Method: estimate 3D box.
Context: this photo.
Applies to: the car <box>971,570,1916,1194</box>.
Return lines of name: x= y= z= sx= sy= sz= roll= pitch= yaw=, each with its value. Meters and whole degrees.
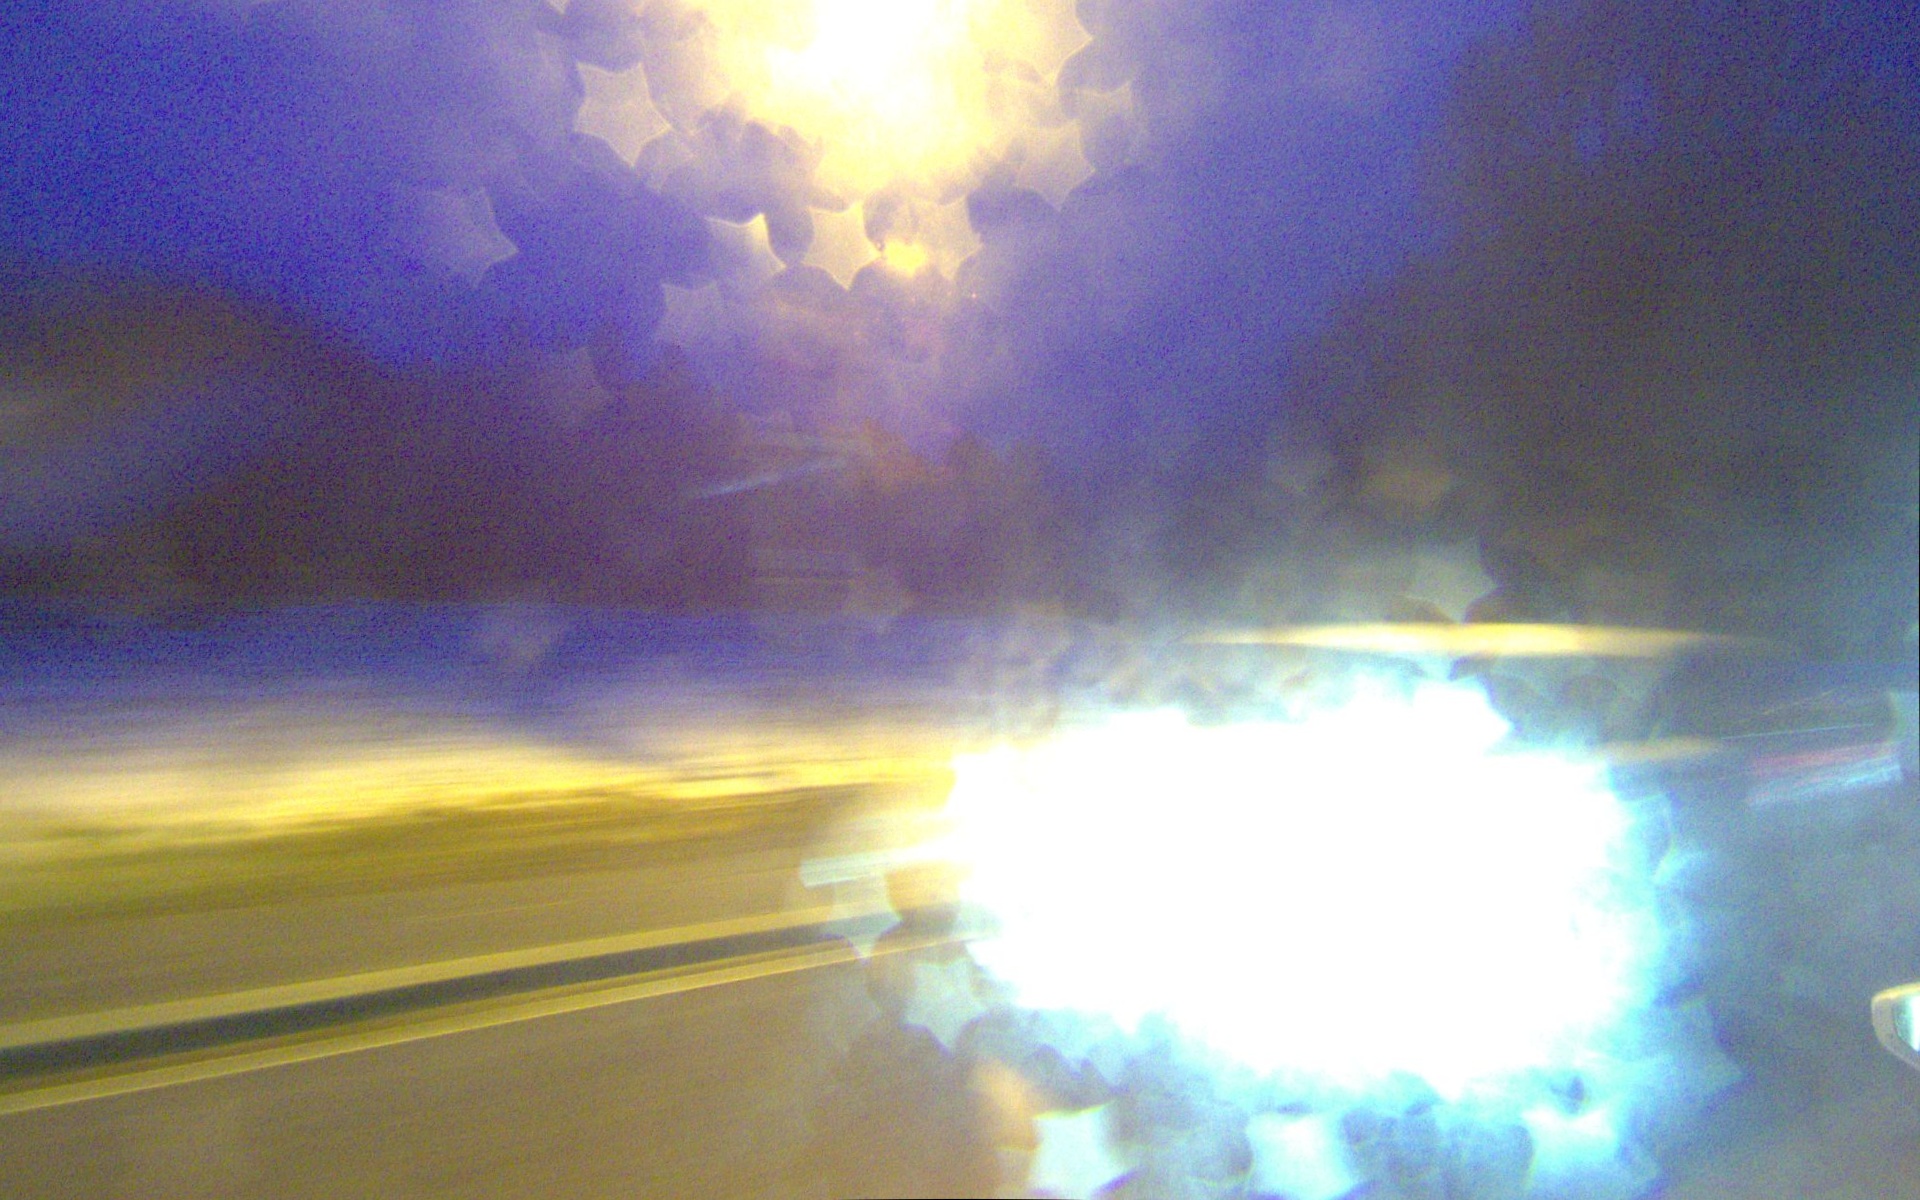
car: x=2.193 y=0.743 z=4.261 sx=3.971 sy=1.539 sz=1.722 roll=2 pitch=0 yaw=-32
